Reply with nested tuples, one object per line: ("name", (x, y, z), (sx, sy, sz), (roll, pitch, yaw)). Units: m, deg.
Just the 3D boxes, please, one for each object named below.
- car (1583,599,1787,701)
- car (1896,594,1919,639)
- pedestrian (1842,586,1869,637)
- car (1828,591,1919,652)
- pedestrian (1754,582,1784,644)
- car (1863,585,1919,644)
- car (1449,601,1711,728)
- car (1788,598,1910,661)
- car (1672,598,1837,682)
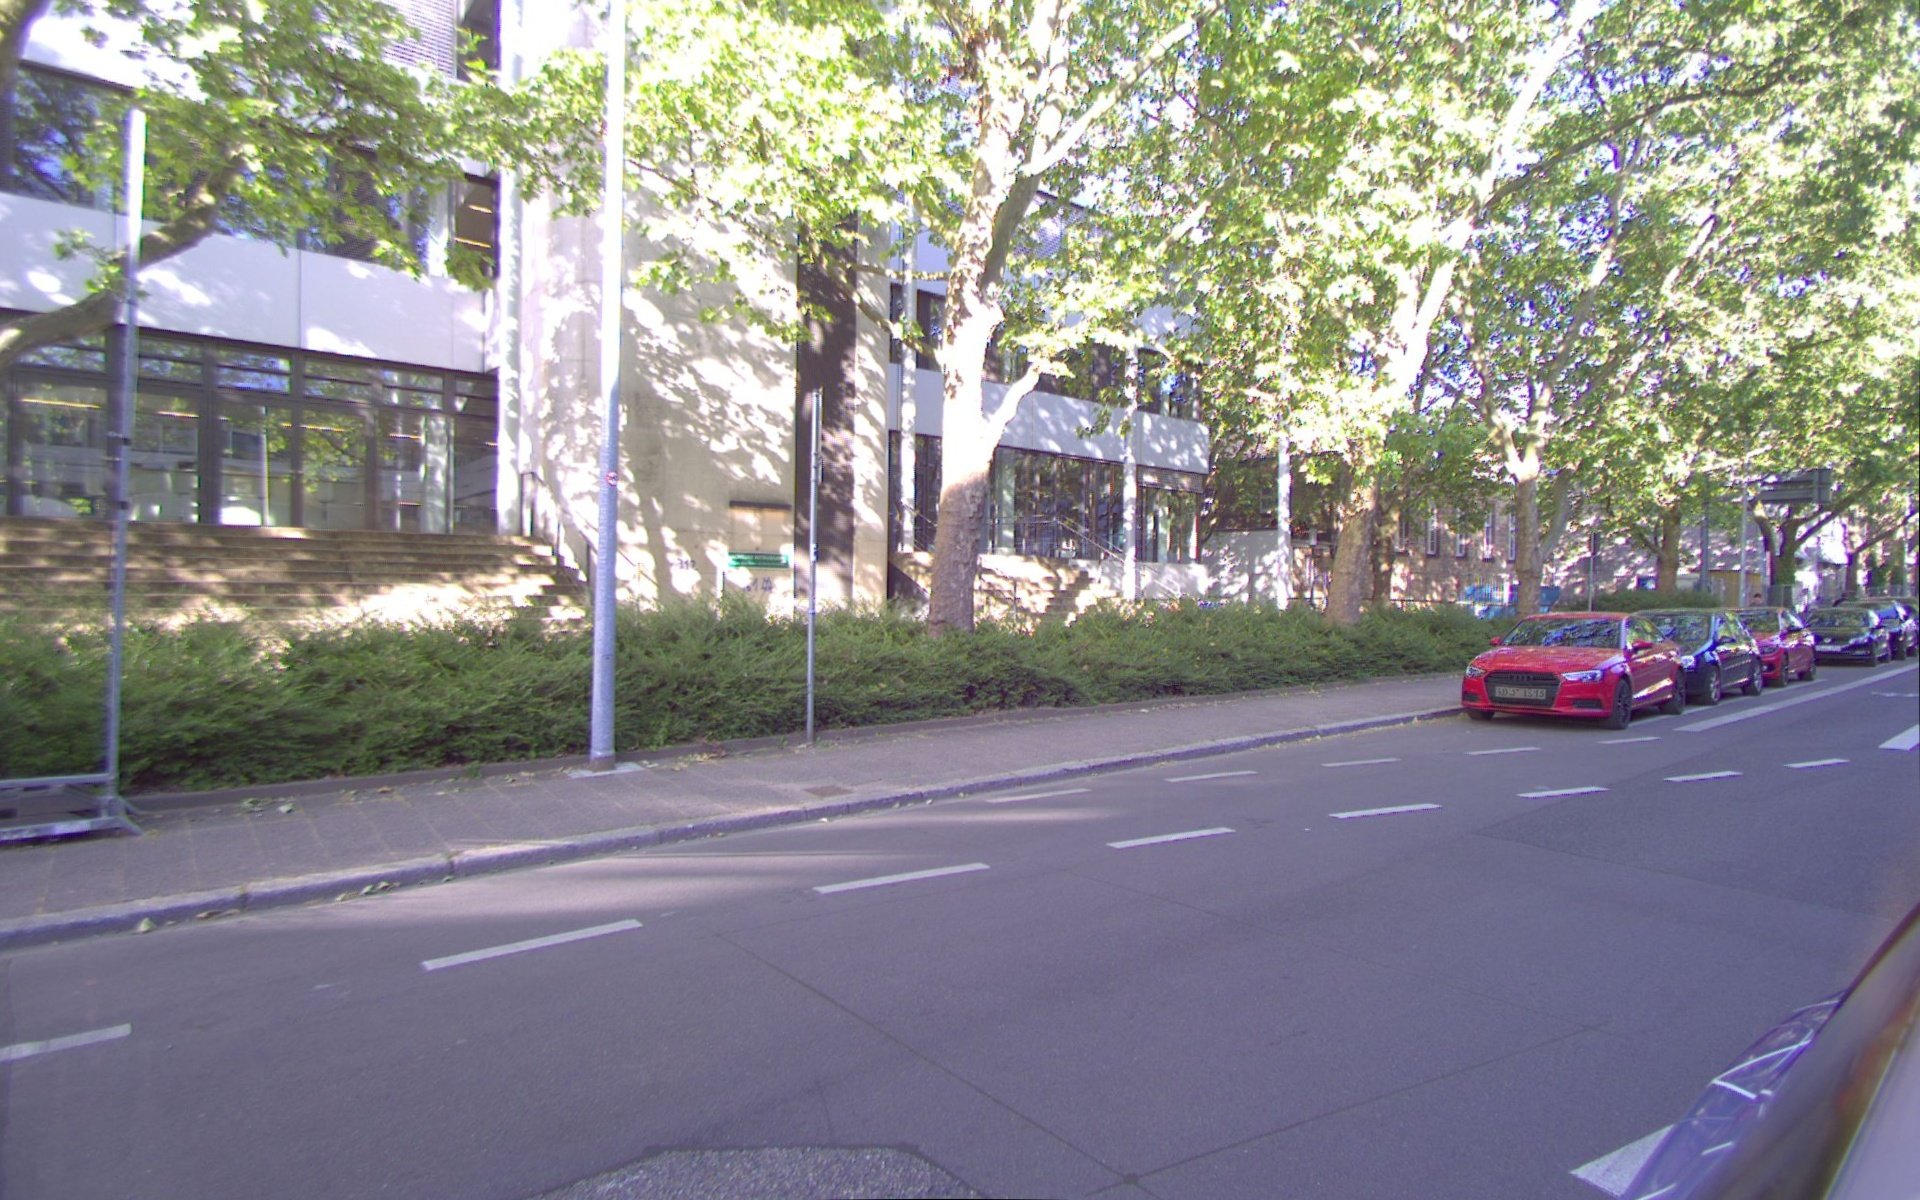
("car", (12.022, 0.720, 16.685), (4.095, 1.464, 1.834), (0, 0, -41))
("car", (35.906, 0.584, 37.101), (4.183, 1.634, 1.834), (0, 0, -40))
("pedestrian", (33.398, 0.425, 37.728), (0.629, 1.884, 0.660), (0, 0, -41))
("car", (26.558, 0.575, 29.086), (4.088, 1.626, 1.834), (0, 0, -40))
("pedestrian", (24.084, 0.367, 30.129), (0.583, 1.818, 0.600), (0, 0, -41))
("car", (31.043, 0.441, 32.976), (4.383, 1.820, 1.834), (0, 0, -40))
("car", (8.403, 0.737, 13.568), (4.173, 1.422, 1.834), (0, 0, -41))
("car", (22.869, 0.704, 25.991), (4.095, 1.486, 1.834), (0, 0, -41))
("car", (15.837, 0.710, 20.100), (4.095, 1.486, 1.834), (0, 0, -41))
